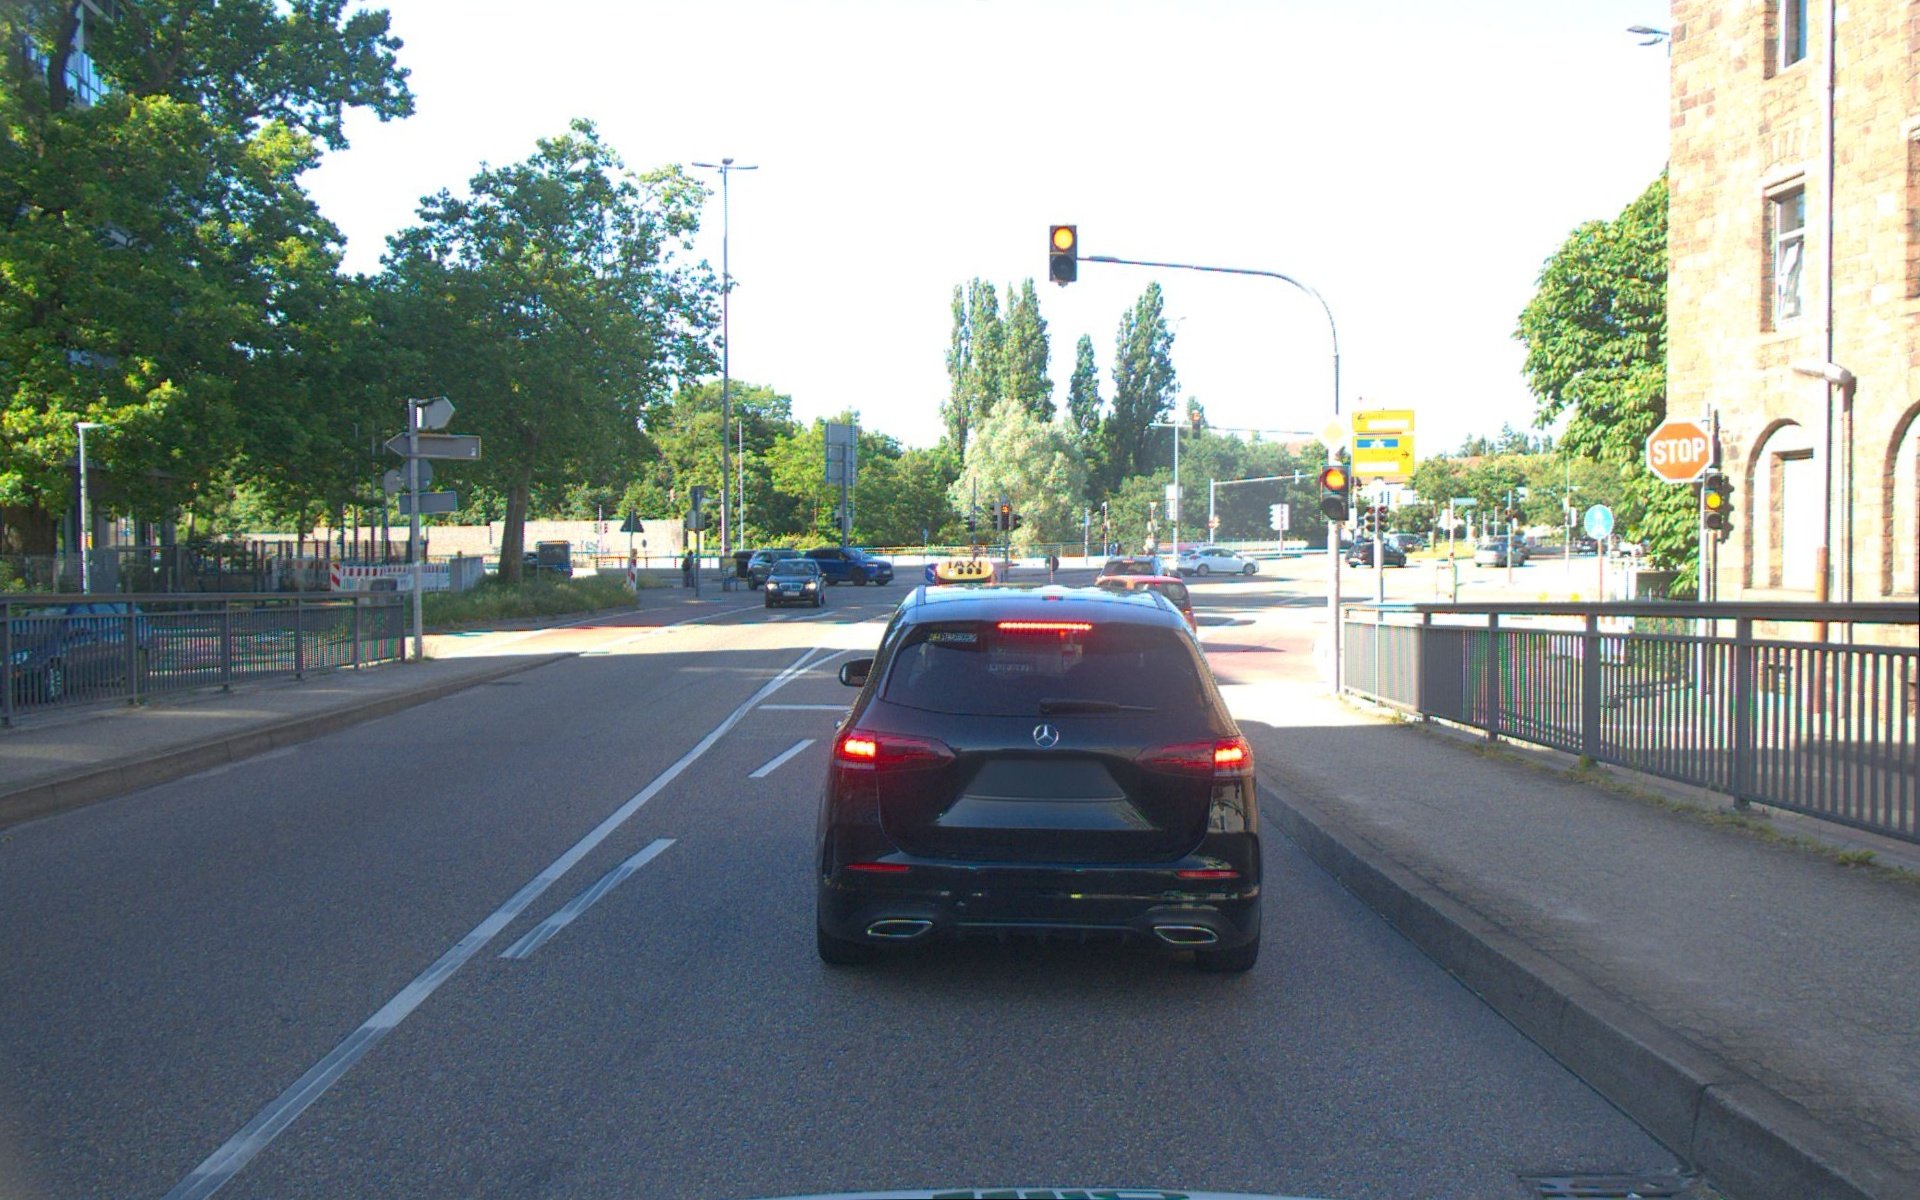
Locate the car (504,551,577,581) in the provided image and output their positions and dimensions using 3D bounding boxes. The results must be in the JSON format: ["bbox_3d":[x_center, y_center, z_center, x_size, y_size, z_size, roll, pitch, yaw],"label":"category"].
[{"bbox_3d":[-22.524,-1.827,88.820,3.920,1.524,1.738,0,0,36],"label":"car"}]

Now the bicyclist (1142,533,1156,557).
[{"bbox_3d":[12.269,-3.572,107.497,0.801,1.578,0.518,-3,2,-45],"label":"bicyclist"}]

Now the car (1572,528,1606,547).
[{"bbox_3d":[49.471,-4.915,130.107,1.749,1.381,4.069,0,3,32],"label":"car"}]

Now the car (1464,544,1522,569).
[{"bbox_3d":[31.349,-2.568,97.251,1.960,1.317,4.578,1,3,36],"label":"car"}]

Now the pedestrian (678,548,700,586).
[{"bbox_3d":[-11.111,-1.362,67.840,0.690,1.552,0.744,1,1,10],"label":"pedestrian"}]

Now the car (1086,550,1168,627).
[{"bbox_3d":[4.440,-0.350,44.580,1.686,1.843,4.298,3,2,0],"label":"car"}]

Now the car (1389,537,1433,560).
[{"bbox_3d":[32.837,-3.731,120.377,1.846,1.605,3.987,1,2,35],"label":"car"}]

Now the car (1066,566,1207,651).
[{"bbox_3d":[3.621,0.128,34.530,1.695,1.548,3.470,-1,3,-18],"label":"car"}]

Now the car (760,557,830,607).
[{"bbox_3d":[-5.175,-0.607,52.271,1.706,1.431,4.202,-1,2,1],"label":"car"}]

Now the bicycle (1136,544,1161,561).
[{"bbox_3d":[12.269,-3.113,107.519,0.518,1.068,1.976,0,2,45],"label":"bicycle"}]

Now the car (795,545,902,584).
[{"bbox_3d":[-4.831,-1.548,71.585,4.309,1.619,1.918,1,3,31],"label":"car"}]

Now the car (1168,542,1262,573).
[{"bbox_3d":[12.787,-2.138,82.852,4.234,1.389,1.991,-2,3,-18],"label":"car"}]

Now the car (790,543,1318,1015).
[{"bbox_3d":[0.304,0.607,7.834,1.839,1.641,4.000,1,1,-1],"label":"car"}]

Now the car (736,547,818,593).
[{"bbox_3d":[-7.361,-1.234,66.182,1.786,1.651,3.960,0,3,-31],"label":"car"}]

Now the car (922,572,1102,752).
[{"bbox_3d":[0.517,0.537,16.724,1.606,1.556,3.475,-1,2,1],"label":"car"}]

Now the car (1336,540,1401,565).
[{"bbox_3d":[23.809,-2.749,96.269,1.852,1.317,4.570,1,4,41],"label":"car"}]

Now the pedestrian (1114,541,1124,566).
[{"bbox_3d":[10.436,-3.043,108.577,0.443,1.613,0.499,0,2,40],"label":"pedestrian"}]

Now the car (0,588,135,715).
[{"bbox_3d":[-14.764,0.728,25.798,1.814,1.722,4.000,0,2,-1],"label":"car"}]
